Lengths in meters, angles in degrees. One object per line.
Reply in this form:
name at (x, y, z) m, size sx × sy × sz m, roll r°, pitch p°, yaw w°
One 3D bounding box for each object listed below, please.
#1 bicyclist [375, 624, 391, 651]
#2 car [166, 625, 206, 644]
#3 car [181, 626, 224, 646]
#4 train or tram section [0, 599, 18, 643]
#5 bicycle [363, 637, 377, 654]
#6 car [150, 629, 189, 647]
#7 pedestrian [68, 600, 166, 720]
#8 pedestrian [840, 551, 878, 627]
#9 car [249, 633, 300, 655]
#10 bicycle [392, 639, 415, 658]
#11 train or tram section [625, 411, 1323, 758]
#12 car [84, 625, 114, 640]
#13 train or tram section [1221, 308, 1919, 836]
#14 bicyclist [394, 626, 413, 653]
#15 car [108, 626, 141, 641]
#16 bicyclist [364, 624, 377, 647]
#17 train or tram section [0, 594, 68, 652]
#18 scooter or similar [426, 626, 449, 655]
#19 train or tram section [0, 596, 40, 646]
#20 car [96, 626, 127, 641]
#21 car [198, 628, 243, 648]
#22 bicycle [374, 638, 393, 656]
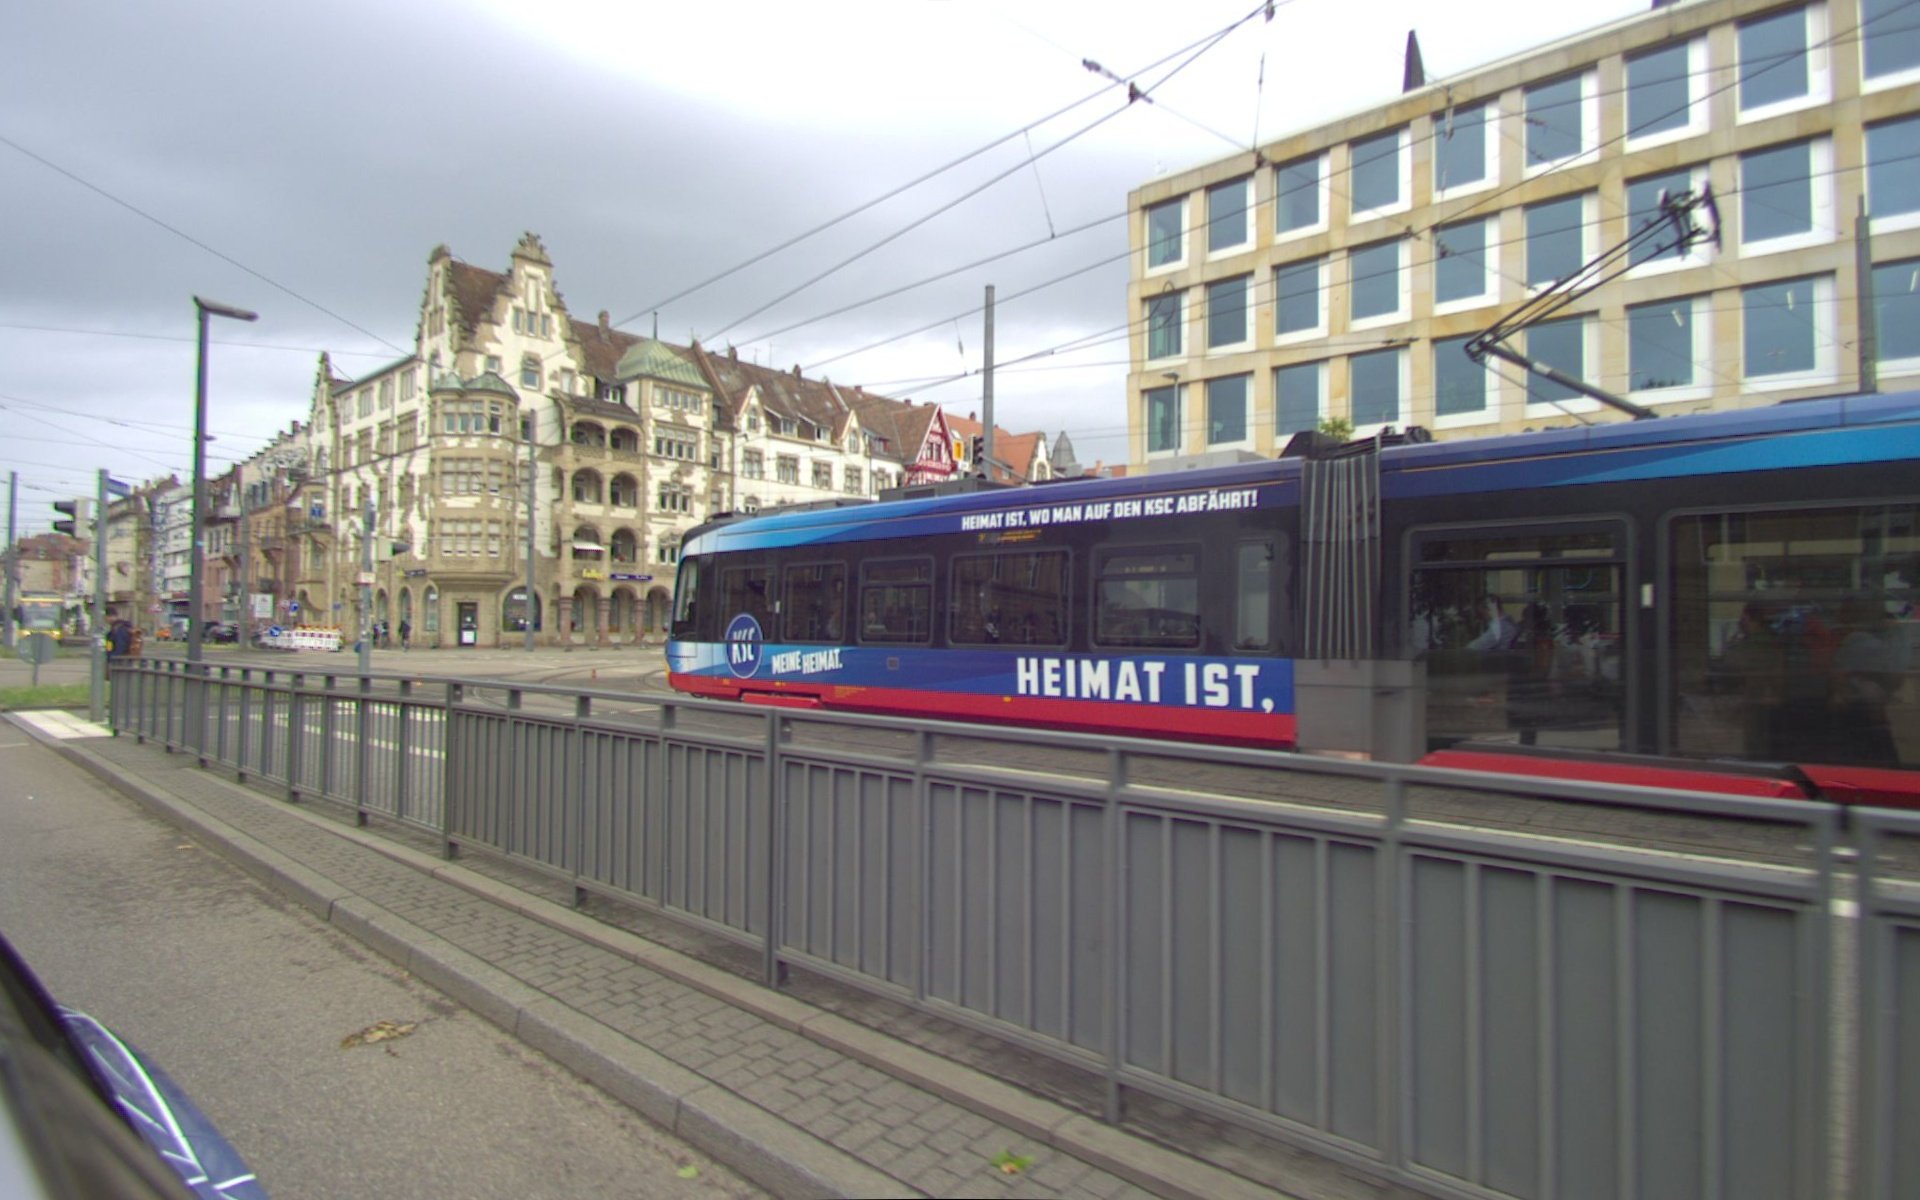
bicyclist at (-34.796, 2.275, 61.039) m, size 0.713 × 1.618 × 0.861 m, roll 2°, pitch -4°, yaw -39°
car at (-68.885, 3.051, 90.067) m, size 3.996 × 1.608 × 1.974 m, roll 0°, pitch -2°, yaw 39°
car at (-64.103, 3.010, 85.603) m, size 3.996 × 1.608 × 1.974 m, roll 0°, pitch -2°, yaw 39°
train or tram section at (-81.107, 1.655, 84.286) m, size 13.616 × 3.463 × 2.616 m, roll 0°, pitch -2°, yaw 42°
bicycle at (-37.064, 2.841, 63.596) m, size 0.696 × 1.045 × 2.028 m, roll 1°, pitch -3°, yaw -31°
car at (-73.931, 3.534, 94.628) m, size 3.996 × 1.608 × 1.974 m, roll 0°, pitch -2°, yaw 39°
pedestrian at (-12.103, 0.846, 14.553) m, size 0.644 × 1.655 × 0.860 m, roll 1°, pitch -2°, yaw 0°
pedestrian at (-2.529, -0.264, 25.394) m, size 0.739 × 1.882 × 0.853 m, roll 1°, pitch -2°, yaw 8°
car at (-49.804, 3.163, 73.475) m, size 3.996 × 1.453 × 1.974 m, roll 0°, pitch -2°, yaw 39°
bicycle at (-31.317, 2.725, 56.934) m, size 0.739 × 1.045 × 1.917 m, roll 2°, pitch -4°, yaw -42°
train or tram section at (-0.737, -0.094, 15.643) m, size 11.760 × 3.668 × 2.825 m, roll 0°, pitch -2°, yaw 41°
car at (-101.222, 3.818, 119.018) m, size 3.996 × 1.608 × 1.974 m, roll 0°, pitch -2°, yaw 39°
train or tram section at (8.023, -0.163, 7.696) m, size 11.695 × 3.668 × 2.825 m, roll 0°, pitch -2°, yaw 41°
bicyclist at (-31.321, 2.221, 56.953) m, size 0.739 × 1.532 × 0.766 m, roll 2°, pitch -4°, yaw -42°
car at (-92.208, 3.722, 111.696) m, size 3.996 × 1.608 × 1.974 m, roll 0°, pitch -2°, yaw 39°
bicyclist at (-37.061, 2.235, 63.618) m, size 0.696 × 1.455 × 0.975 m, roll 1°, pitch -3°, yaw -31°
train or tram section at (-60.952, 1.459, 66.001) m, size 13.616 × 3.463 × 2.616 m, roll 0°, pitch -2°, yaw 42°
scooter or similar at (-31.615, 2.455, 61.213) m, size 1.829 × 1.728 × 0.558 m, roll 0°, pitch -2°, yaw 40°
train or tram section at (-71.003, 1.533, 75.143) m, size 13.616 × 3.463 × 2.616 m, roll 0°, pitch -2°, yaw 42°
car at (-97.022, 3.792, 115.663) m, size 3.996 × 1.608 × 1.974 m, roll 0°, pitch -2°, yaw 39°
car at (-59.583, 3.052, 81.522) m, size 3.996 × 1.453 × 1.974 m, roll 0°, pitch -2°, yaw 39°
bicycle at (-34.729, 2.821, 60.929) m, size 0.713 × 1.045 × 1.913 m, roll 2°, pitch -3°, yaw -39°
